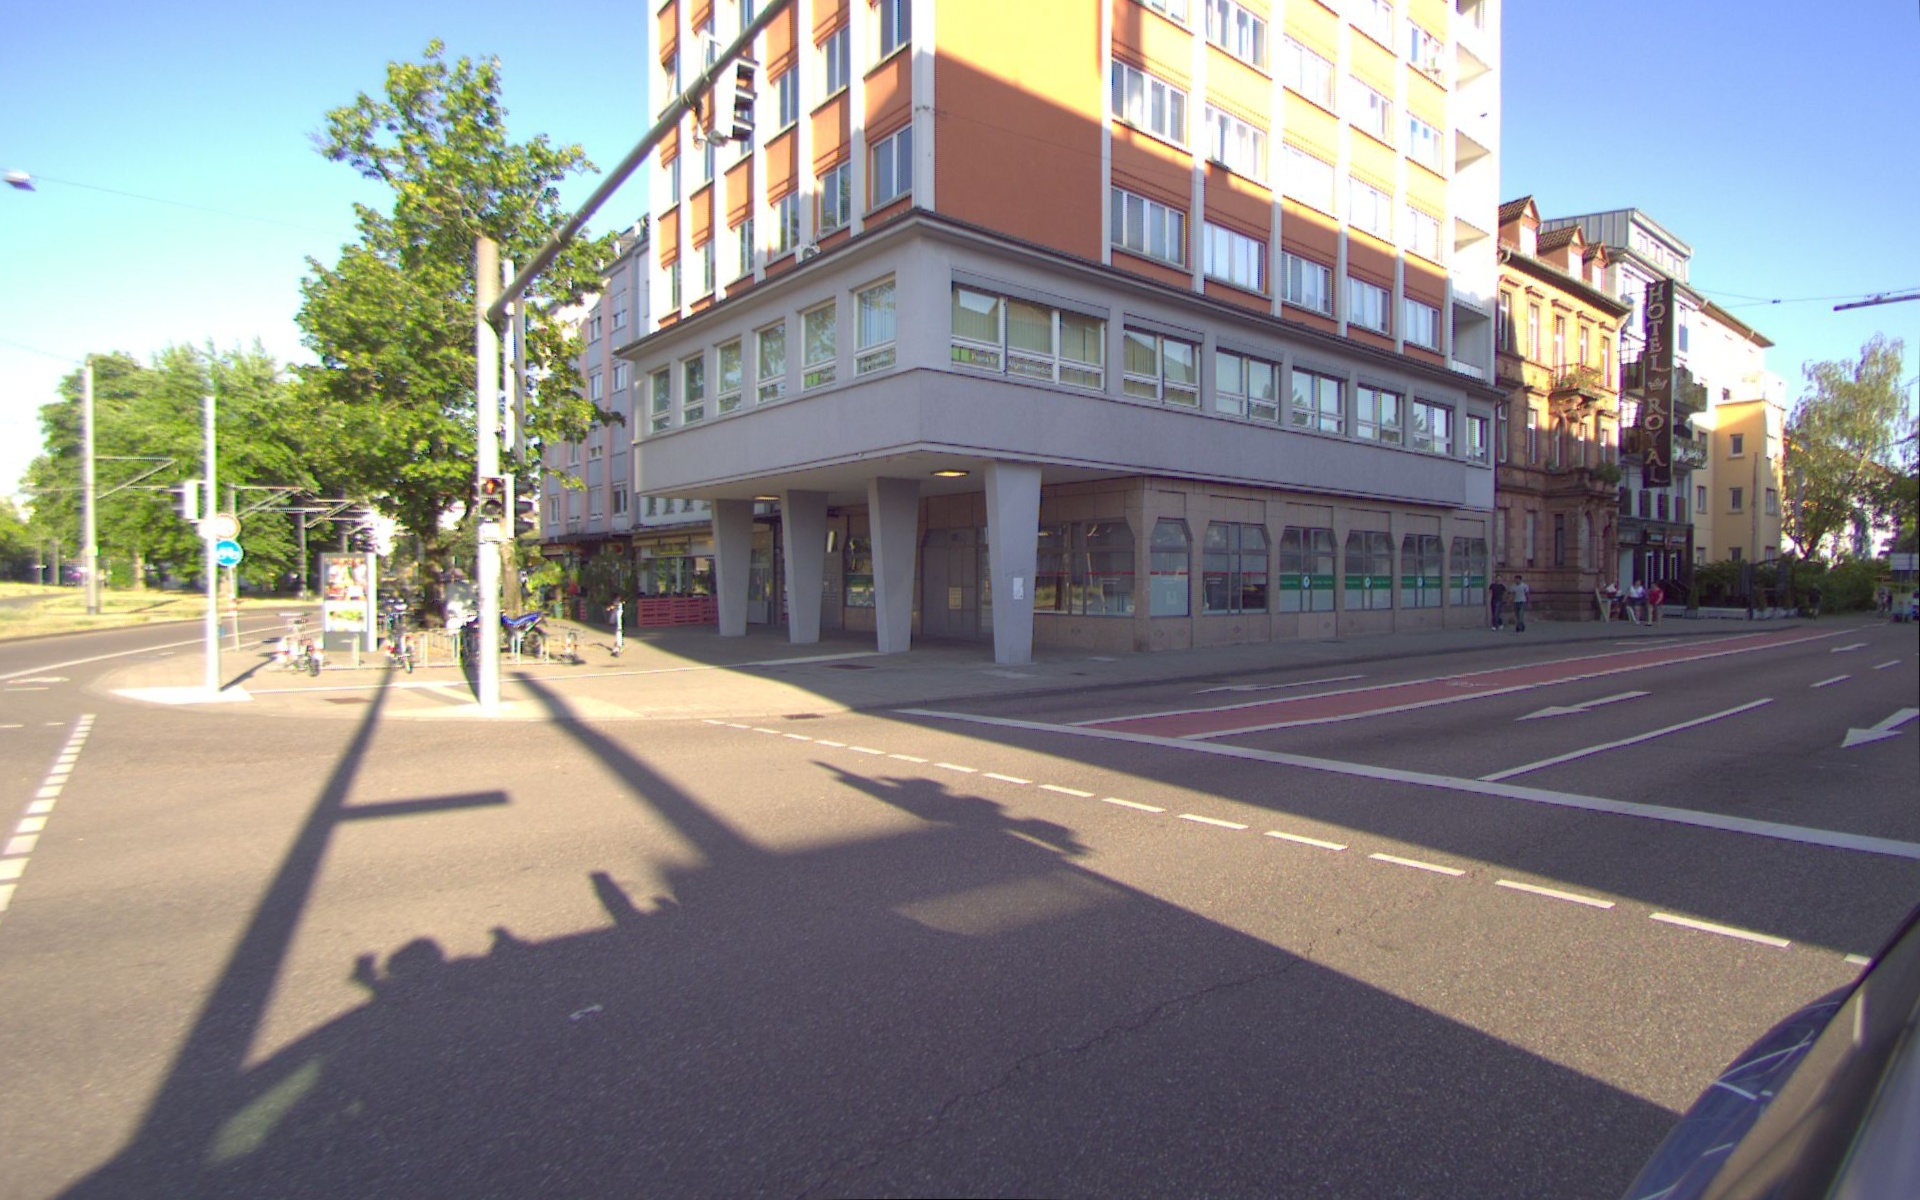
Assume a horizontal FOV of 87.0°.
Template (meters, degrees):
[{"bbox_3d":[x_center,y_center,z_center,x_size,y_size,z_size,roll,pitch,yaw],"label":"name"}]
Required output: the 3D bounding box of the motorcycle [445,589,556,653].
[{"bbox_3d":[-10.765,0.470,23.788,0.840,1.410,2.235,-1,0,39],"label":"motorcycle"}]

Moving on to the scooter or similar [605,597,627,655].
[{"bbox_3d":[-8.140,0.591,23.906,0.474,1.250,1.565,0,2,-20],"label":"scooter or similar"}]

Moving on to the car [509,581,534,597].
[{"bbox_3d":[-38.077,-0.980,87.918,1.703,1.401,3.632,-1,1,-18],"label":"car"}]

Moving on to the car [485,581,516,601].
[{"bbox_3d":[-33.894,-0.683,74.738,1.704,1.401,3.399,-1,1,-18],"label":"car"}]

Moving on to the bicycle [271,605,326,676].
[{"bbox_3d":[-12.084,0.712,18.455,0.583,1.129,1.975,0,3,-41],"label":"bicycle"}]

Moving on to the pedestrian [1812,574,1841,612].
[{"bbox_3d":[38.909,-0.325,45.439,0.993,1.621,0.738,-1,4,-40],"label":"pedestrian"}]

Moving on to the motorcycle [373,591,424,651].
[{"bbox_3d":[-13.494,0.481,24.367,0.872,1.324,2.061,-1,2,-24],"label":"motorcycle"}]

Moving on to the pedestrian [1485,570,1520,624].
[{"bbox_3d":[17.900,-0.120,33.389,0.992,1.747,0.668,0,1,-38],"label":"pedestrian"}]

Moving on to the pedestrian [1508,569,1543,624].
[{"bbox_3d":[18.343,-0.123,32.814,0.993,1.747,0.668,-1,1,-38],"label":"pedestrian"}]

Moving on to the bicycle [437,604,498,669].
[{"bbox_3d":[-9.912,0.699,20.329,0.584,1.128,2.059,0,3,-41],"label":"bicycle"}]

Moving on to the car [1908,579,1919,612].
[{"bbox_3d":[46.280,-0.225,47.618,4.001,1.536,1.905,-1,1,-39],"label":"car"}]

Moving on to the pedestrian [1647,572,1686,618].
[{"bbox_3d":[25.655,-0.179,36.752,0.992,1.607,0.739,-1,5,-35],"label":"pedestrian"}]

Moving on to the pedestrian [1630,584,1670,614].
[{"bbox_3d":[27.134,-0.051,39.799,0.909,1.150,1.099,-1,1,-41],"label":"pedestrian"}]

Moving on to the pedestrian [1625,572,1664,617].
[{"bbox_3d":[25.262,-0.213,37.364,0.992,1.607,0.788,-1,5,-35],"label":"pedestrian"}]

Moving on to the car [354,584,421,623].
[{"bbox_3d":[-22.613,0.084,40.121,1.606,1.445,3.644,0,1,-18],"label":"car"}]

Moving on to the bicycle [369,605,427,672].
[{"bbox_3d":[-10.849,0.704,19.510,0.583,1.128,2.005,0,3,-40],"label":"bicycle"}]
